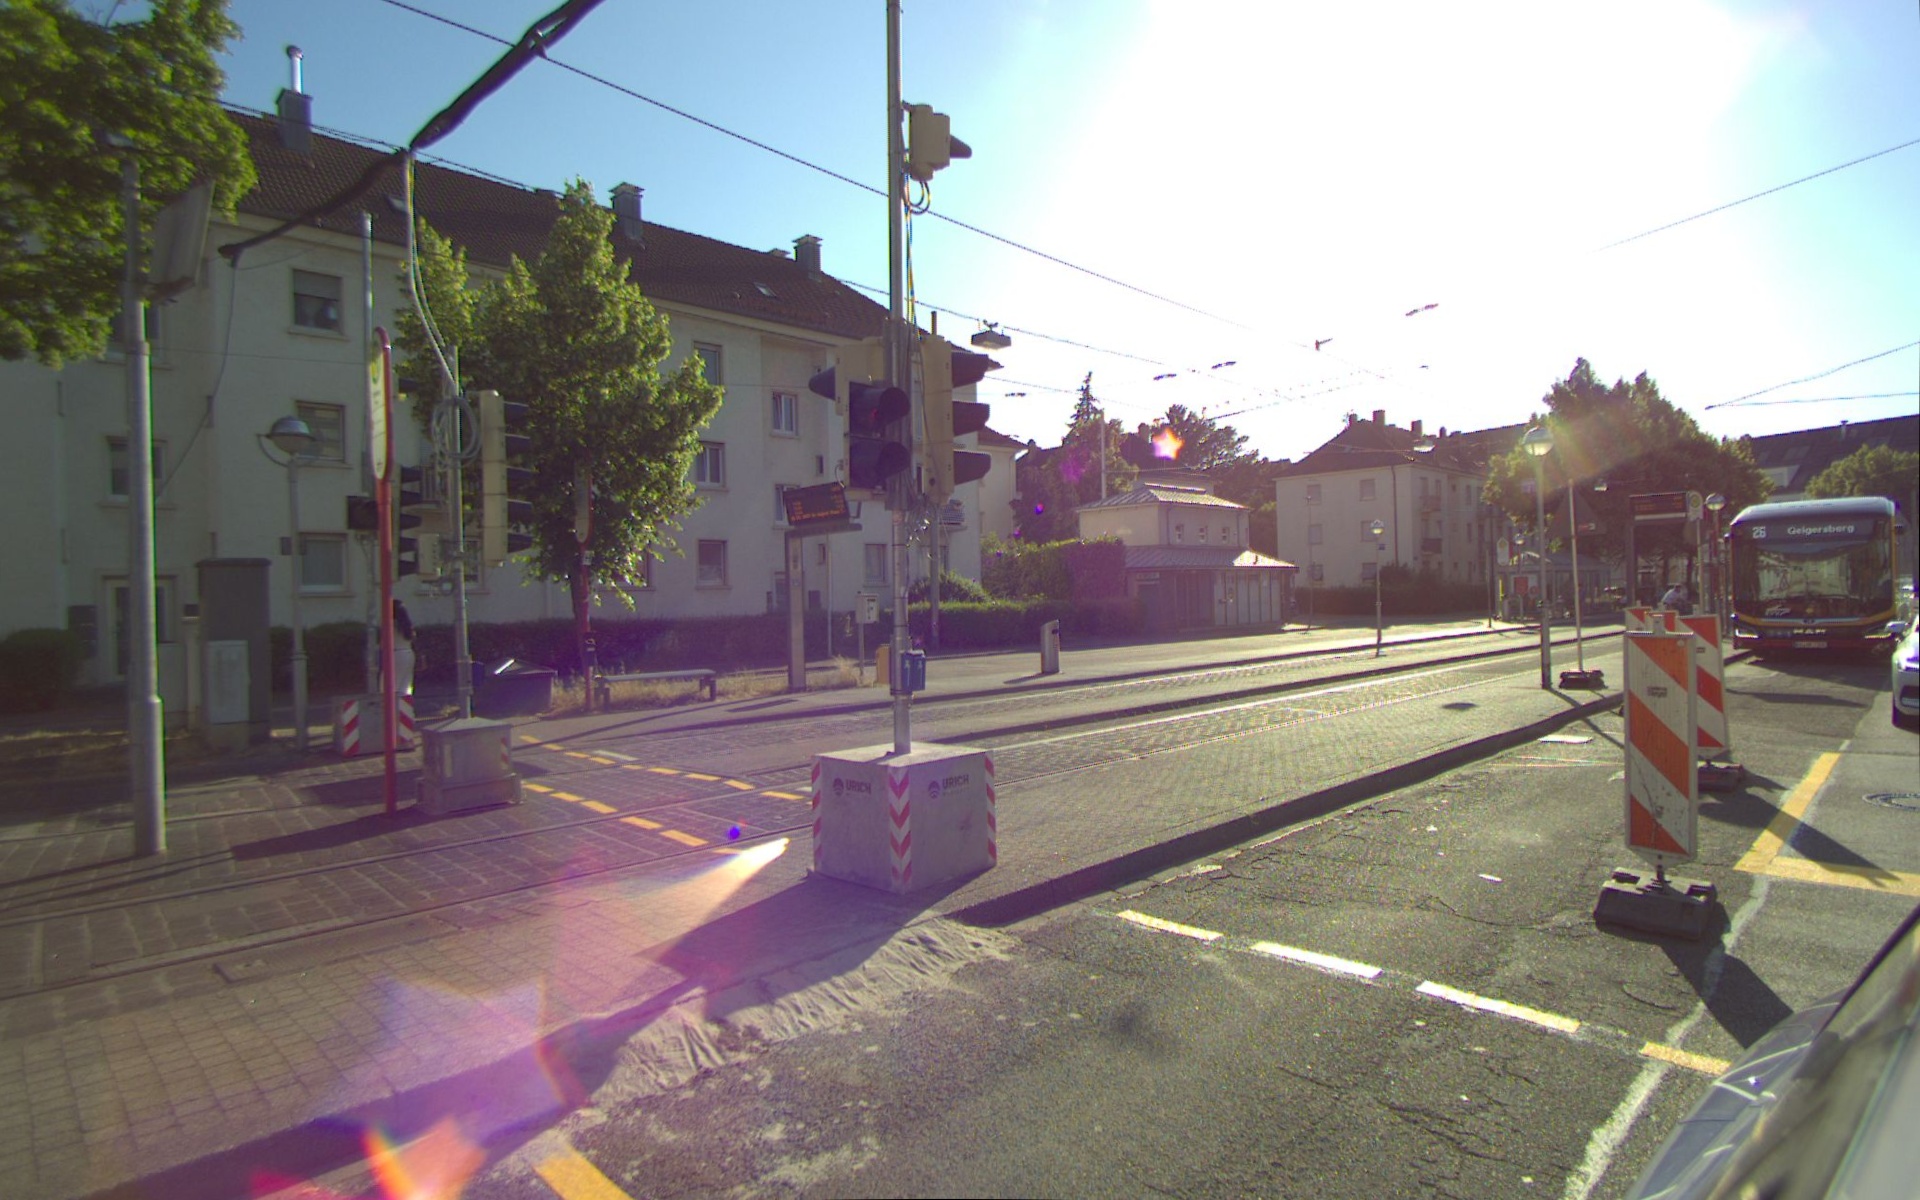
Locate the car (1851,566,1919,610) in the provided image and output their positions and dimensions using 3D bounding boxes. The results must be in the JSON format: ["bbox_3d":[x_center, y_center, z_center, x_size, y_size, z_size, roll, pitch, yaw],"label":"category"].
[{"bbox_3d":[38.886,-0.512,42.398,4.745,1.726,1.965,-1,1,-44],"label":"car"}]

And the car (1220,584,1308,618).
[{"bbox_3d":[16.300,0.047,54.405,1.966,1.694,4.047,-2,0,-42],"label":"car"}]

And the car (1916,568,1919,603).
[{"bbox_3d":[49.256,-0.761,50.575,4.745,1.726,1.965,-1,1,-44],"label":"car"}]

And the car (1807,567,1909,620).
[{"bbox_3d":[27.260,-0.214,30.673,4.745,1.477,1.965,-1,1,-44],"label":"car"}]

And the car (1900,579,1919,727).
[{"bbox_3d":[11.603,0.498,11.008,4.148,1.472,1.817,-1,1,-44],"label":"car"}]

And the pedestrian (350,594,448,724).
[{"bbox_3d":[-7.423,0.750,13.414,0.781,1.640,0.821,-1,0,21],"label":"pedestrian"}]

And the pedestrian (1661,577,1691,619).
[{"bbox_3d":[24.443,-0.078,34.544,0.569,1.398,0.659,-1,1,-32],"label":"pedestrian"}]

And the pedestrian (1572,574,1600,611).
[{"bbox_3d":[28.174,-0.327,45.581,0.812,1.631,0.840,-1,0,11],"label":"pedestrian"}]

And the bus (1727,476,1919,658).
[{"bbox_3d":[20.723,-0.707,23.758,2.743,3.344,11.838,0,1,45],"label":"bus"}]

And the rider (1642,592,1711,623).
[{"bbox_3d":[24.450,0.247,34.557,0.569,1.004,1.859,-1,1,-32],"label":"rider"}]
